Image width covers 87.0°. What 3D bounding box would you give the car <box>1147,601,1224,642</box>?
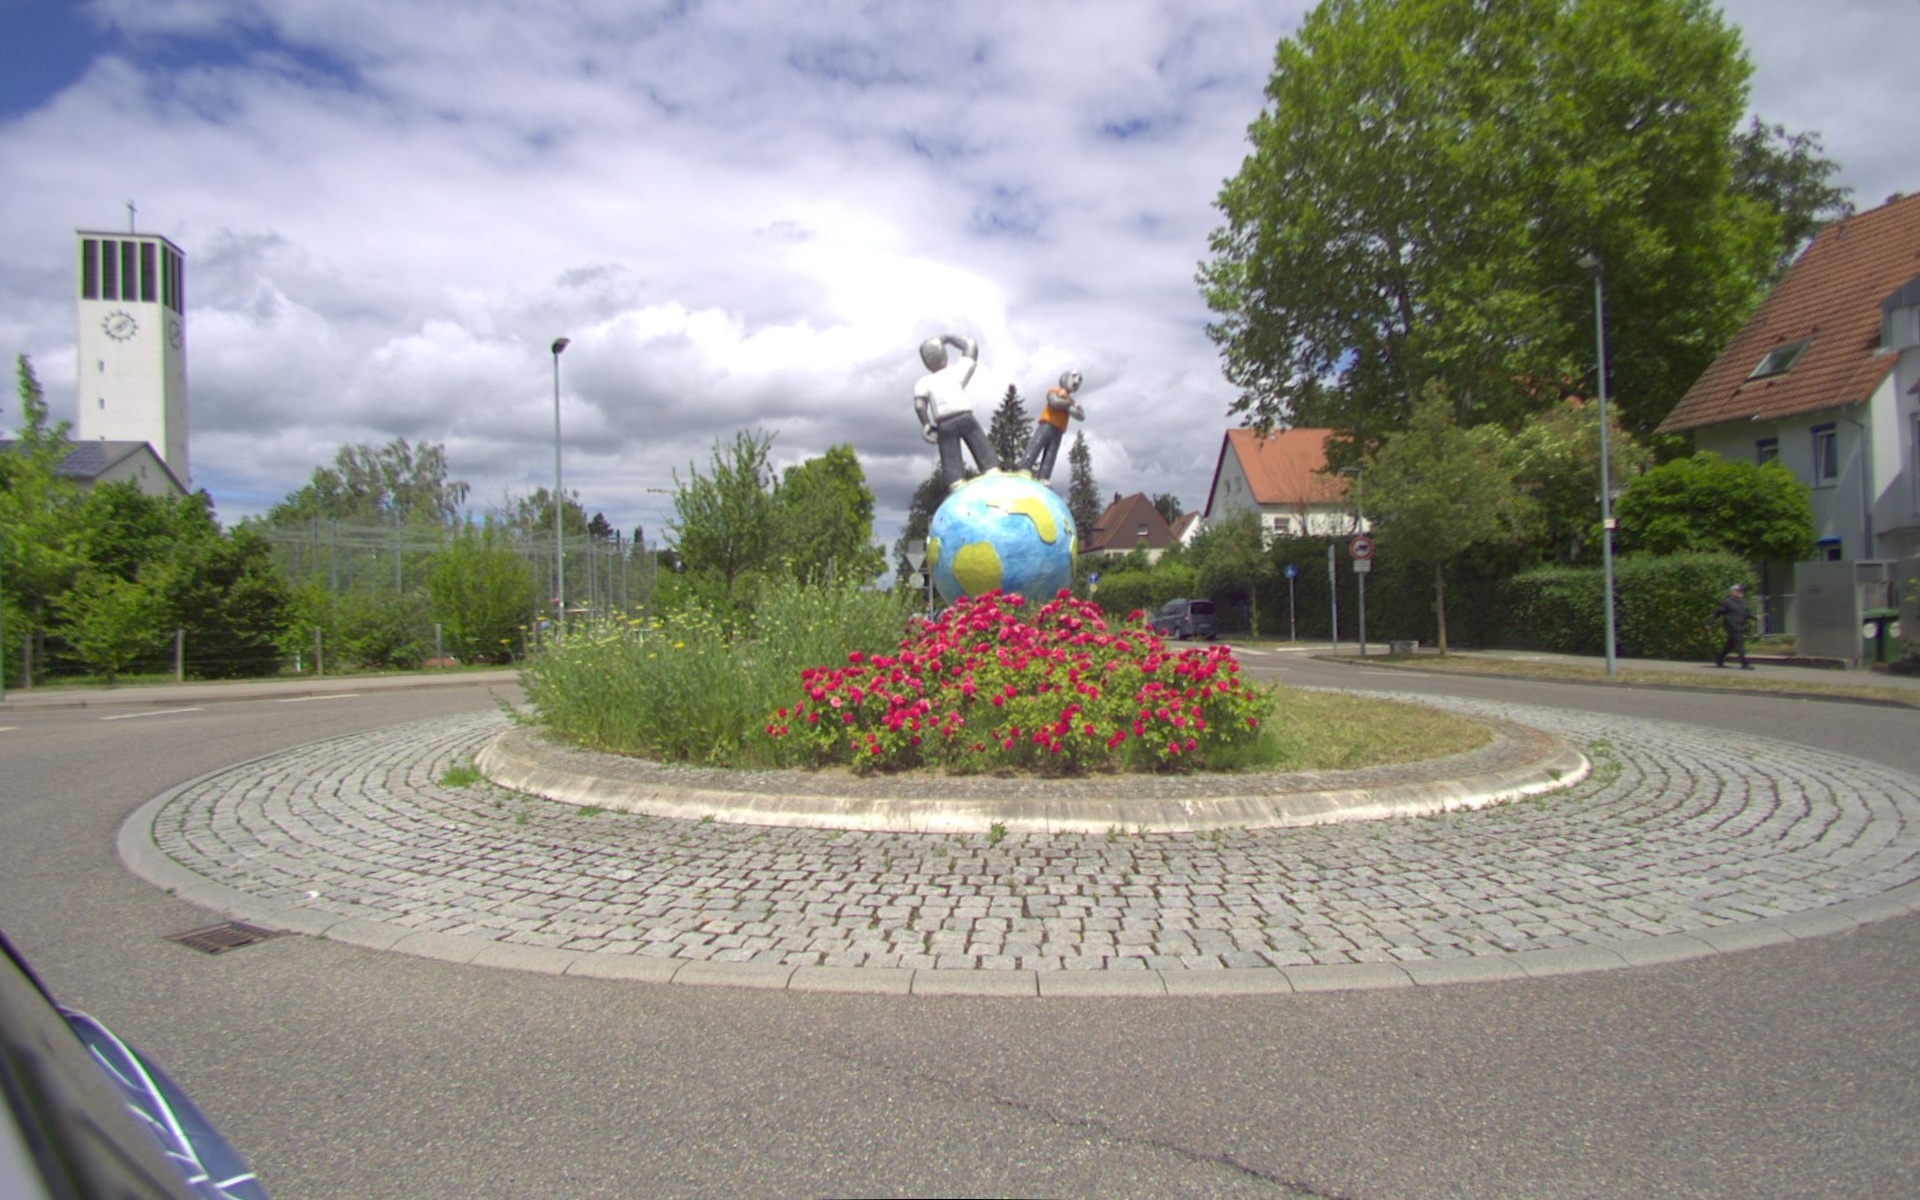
[{"bbox_3d":[9.707,0.889,43.845,1.654,1.674,4.010,-1,0,-13],"label":"car"}]

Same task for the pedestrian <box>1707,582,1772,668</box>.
[{"bbox_3d":[15.980,0.501,20.766,0.734,1.704,0.695,-2,0,-7],"label":"pedestrian"}]

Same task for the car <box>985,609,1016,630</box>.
[{"bbox_3d":[3.260,1.538,82.479,1.834,1.589,4.007,-2,0,-8],"label":"car"}]

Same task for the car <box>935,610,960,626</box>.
[{"bbox_3d":[-1.458,1.978,113.294,1.967,1.719,4.010,0,-1,-13],"label":"car"}]
